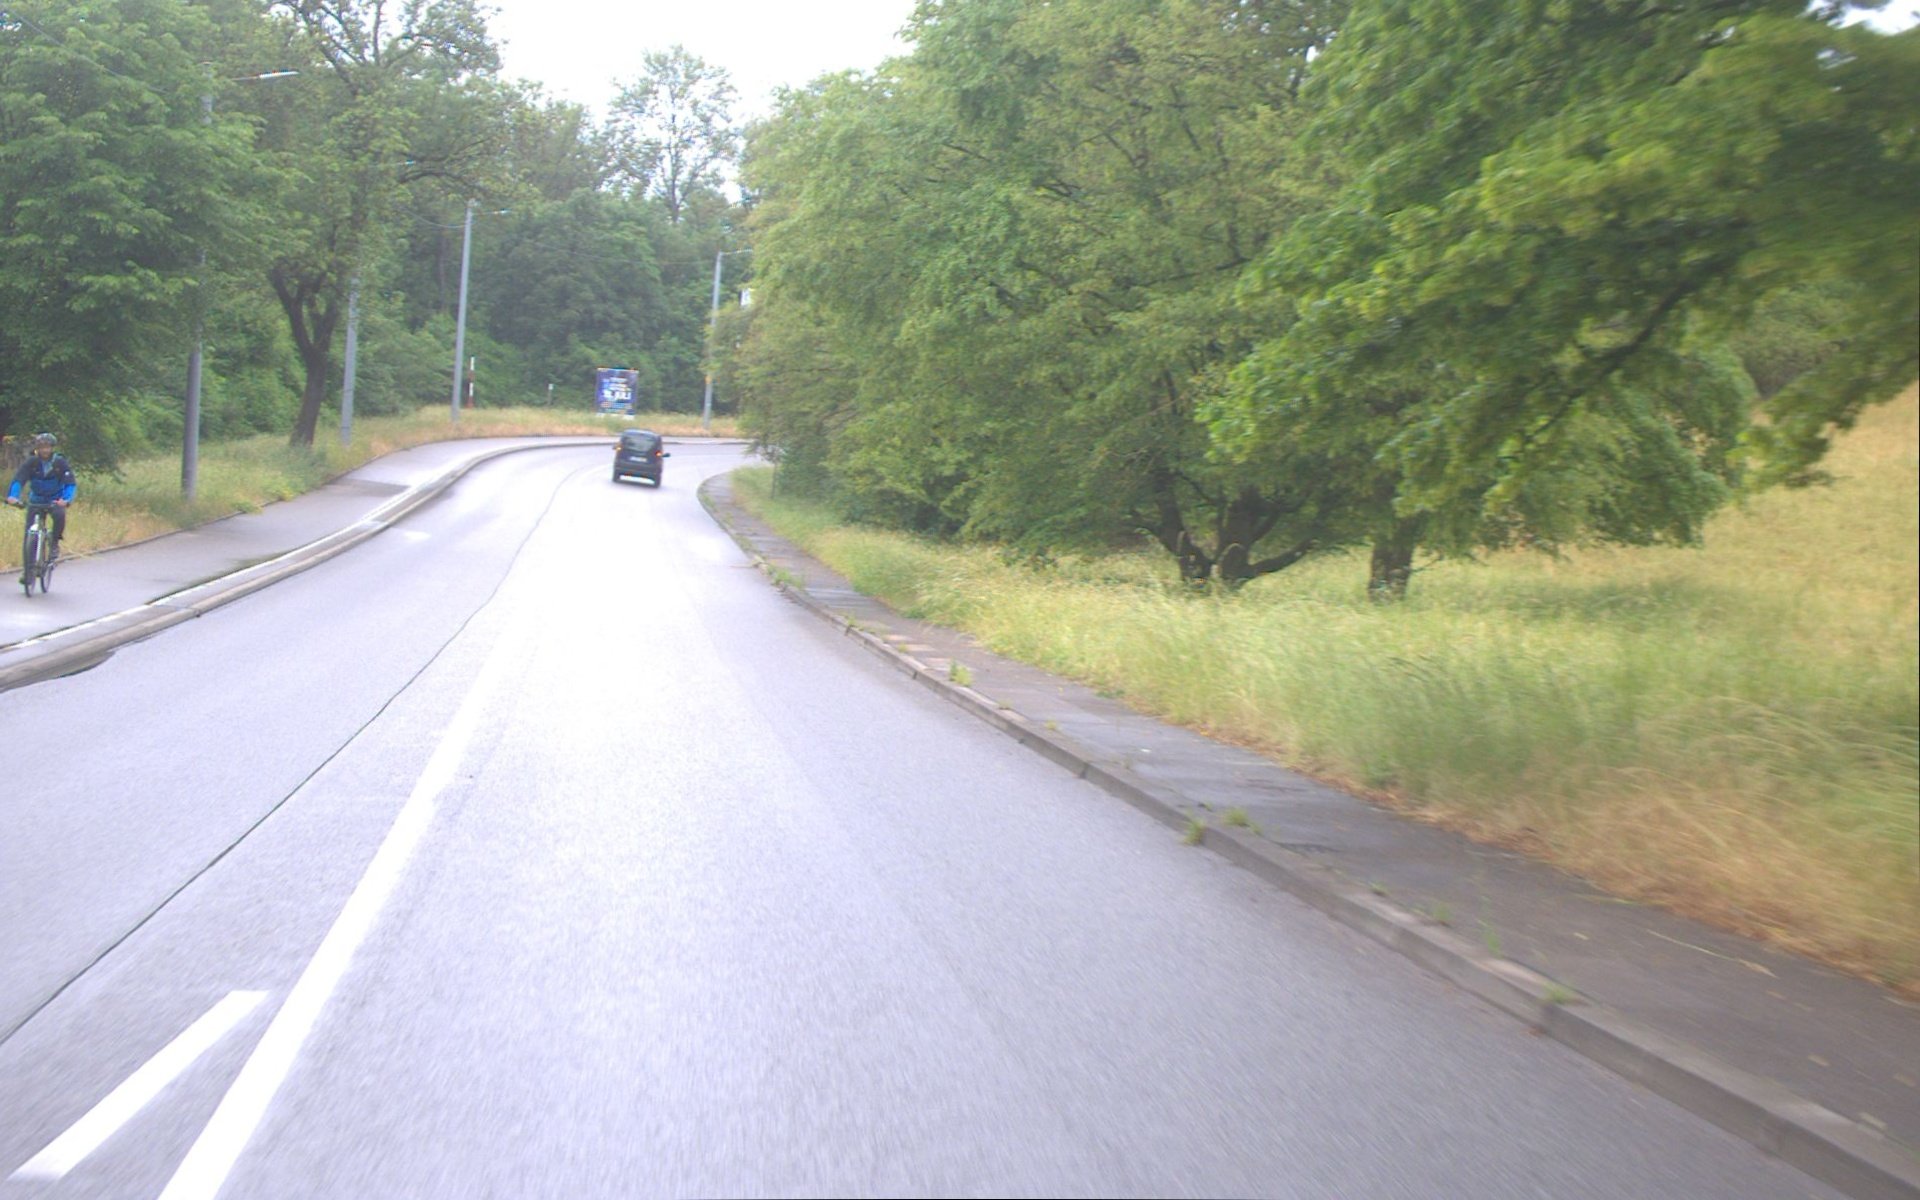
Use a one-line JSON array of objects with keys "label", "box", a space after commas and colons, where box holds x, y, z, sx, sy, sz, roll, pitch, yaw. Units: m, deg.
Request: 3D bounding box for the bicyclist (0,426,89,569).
[{"label": "bicyclist", "box": [-10.484, -1.183, 39.369, 0.708, 1.550, 1.171, 5, 2, -6]}]

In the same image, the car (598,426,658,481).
[{"label": "car", "box": [-11.408, -5.032, 118.393, 1.741, 1.711, 4.001, 5, 2, -3]}]

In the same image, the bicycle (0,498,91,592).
[{"label": "bicycle", "box": [-10.513, -0.643, 39.244, 0.724, 0.938, 2.551, 5, 2, -6]}]
